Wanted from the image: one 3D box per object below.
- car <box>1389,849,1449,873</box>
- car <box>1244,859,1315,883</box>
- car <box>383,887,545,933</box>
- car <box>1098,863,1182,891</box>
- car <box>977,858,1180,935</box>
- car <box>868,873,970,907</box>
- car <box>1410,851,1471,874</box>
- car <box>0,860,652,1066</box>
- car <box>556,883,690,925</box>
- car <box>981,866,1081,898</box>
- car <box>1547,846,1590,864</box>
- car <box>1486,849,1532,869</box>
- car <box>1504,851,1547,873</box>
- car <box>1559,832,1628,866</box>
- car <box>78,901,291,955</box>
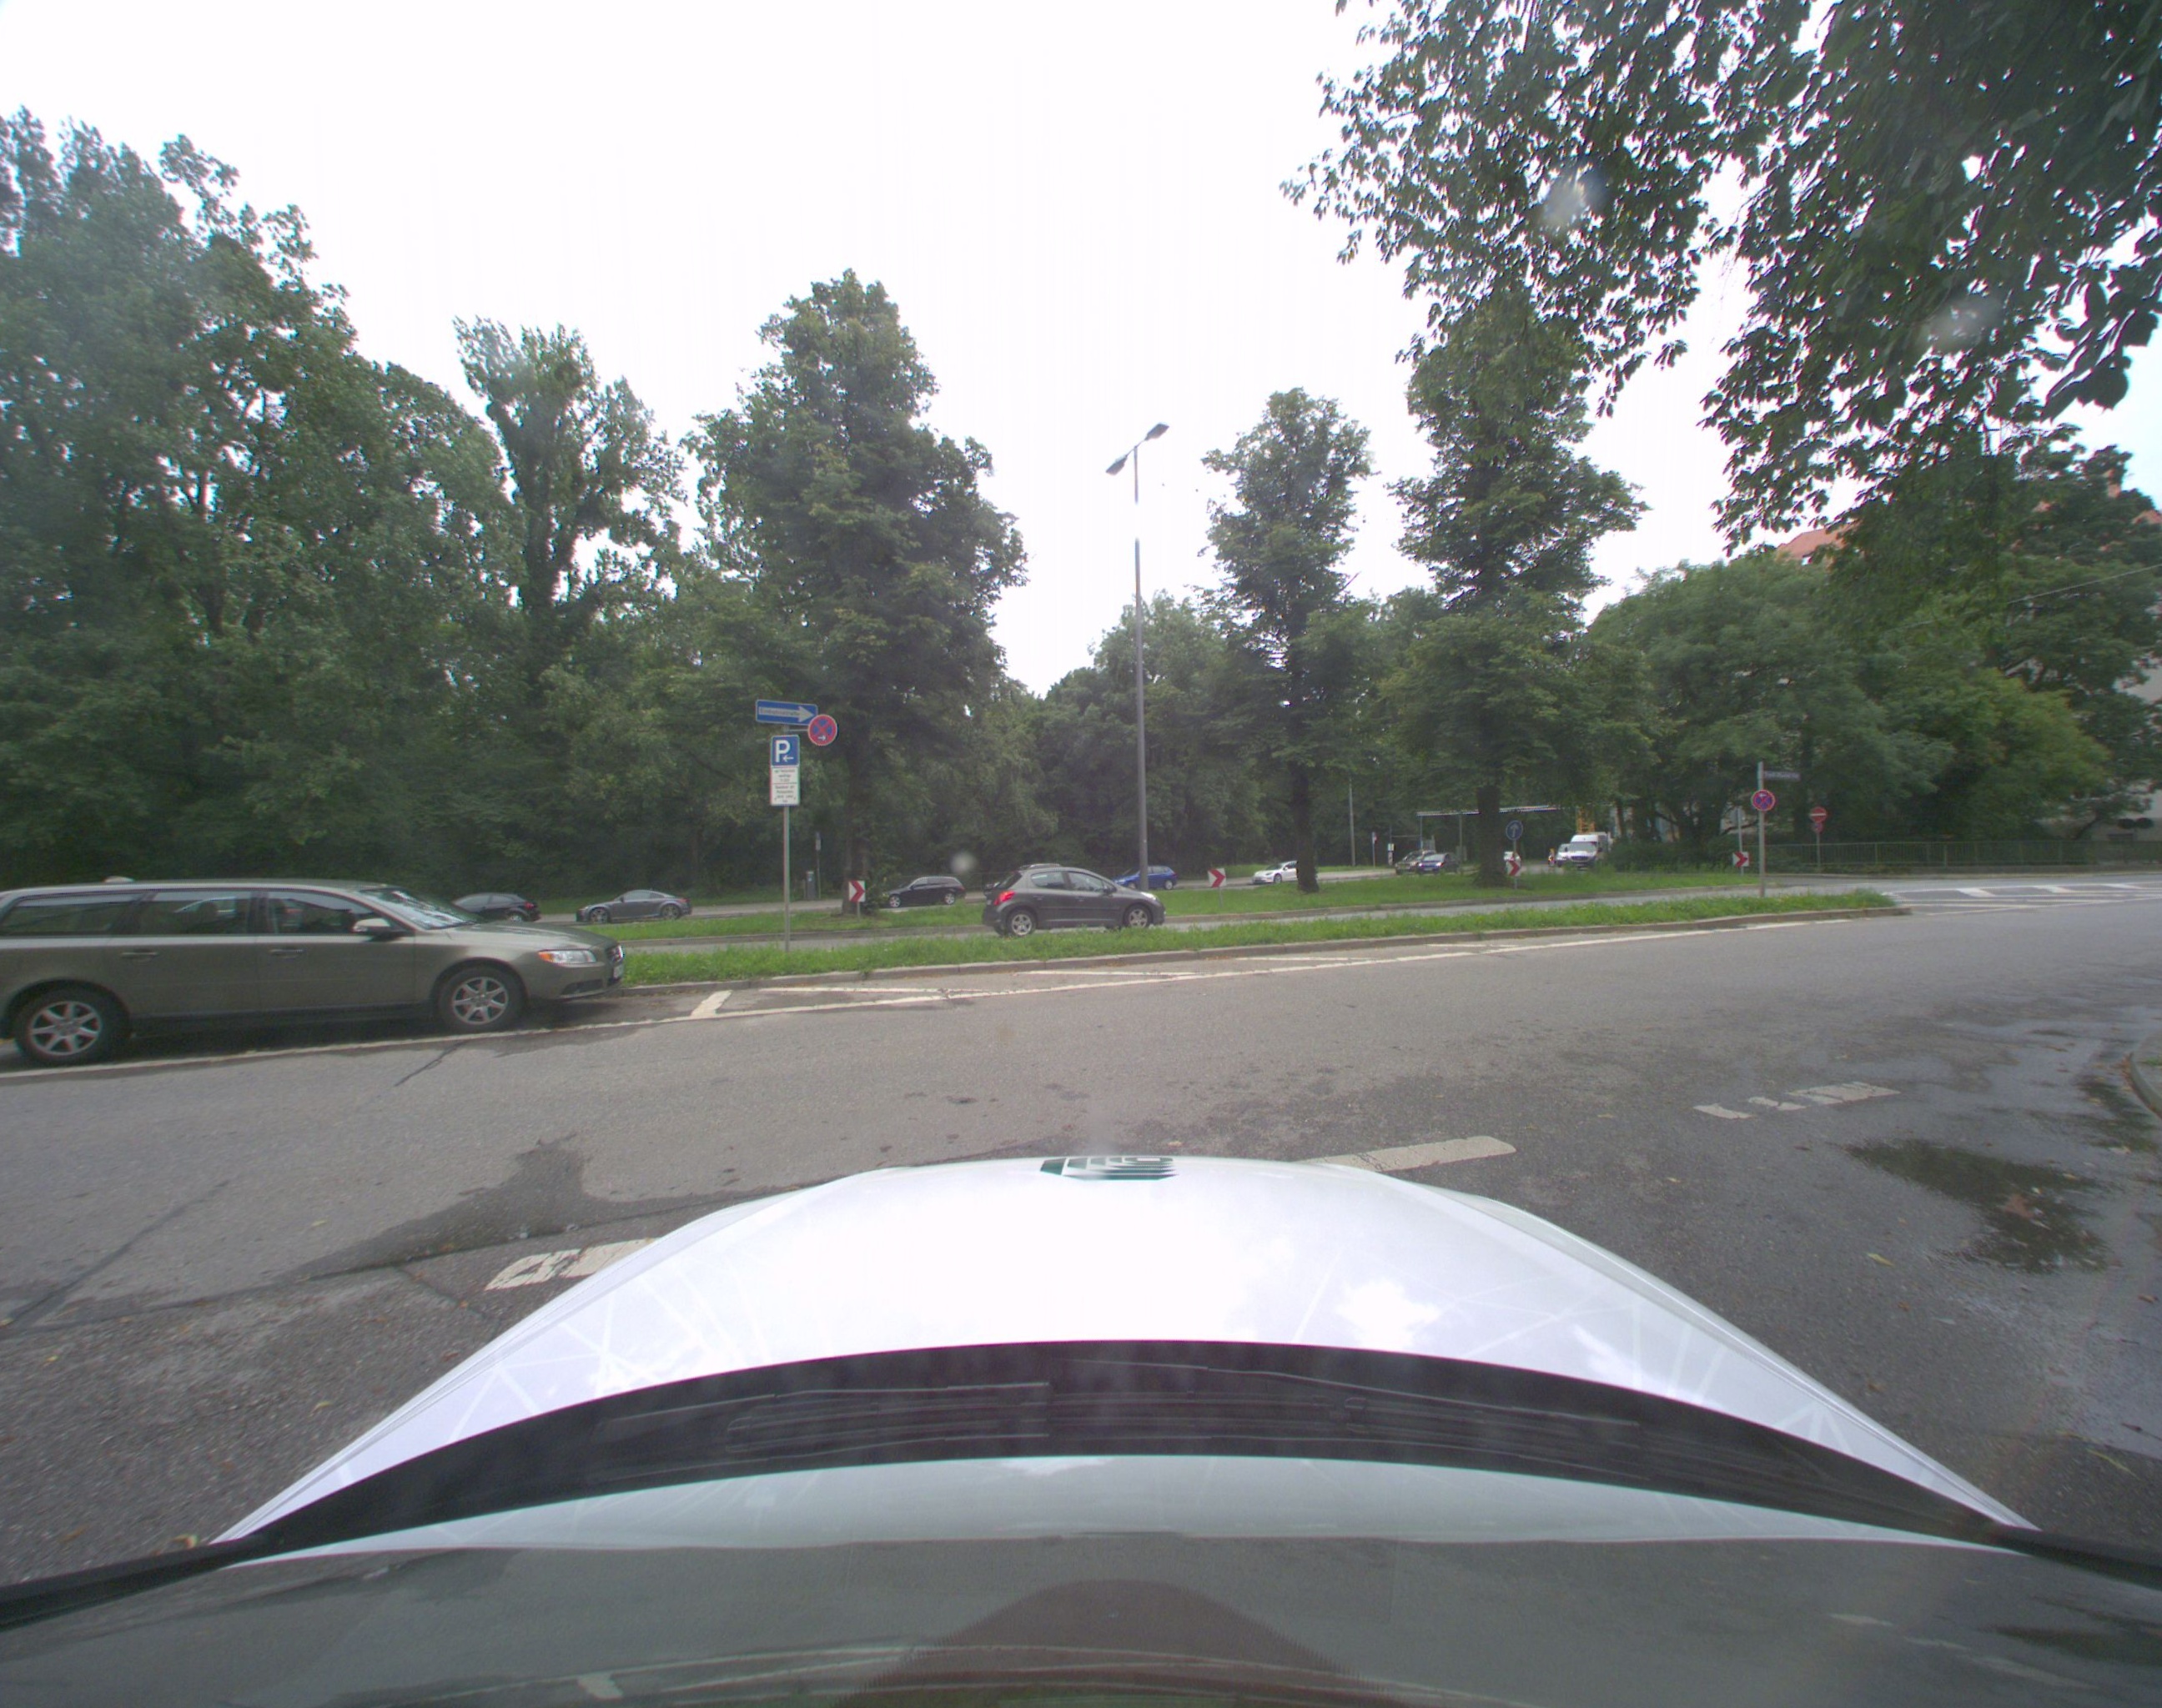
[{"bbox_3d":[25.894,0.511,62.407,4.667,1.718,1.978,-1,-2,-35],"label":"car"},{"bbox_3d":[12.849,1.090,52.574,4.442,1.446,1.978,-1,-2,-35],"label":"car"},{"bbox_3d":[-22.950,2.067,30.558,4.536,1.446,1.982,-1,-2,-27],"label":"car"},{"bbox_3d":[3.387,1.296,46.331,4.442,1.446,1.978,-1,-2,-35],"label":"car"},{"bbox_3d":[-0.087,0.873,17.764,4.072,1.461,1.753,-1,-1,-18],"label":"car"},{"bbox_3d":[-7.770,1.721,39.145,4.335,1.446,1.979,-1,-2,-34],"label":"car"},{"bbox_3d":[24.177,0.557,54.707,4.050,1.446,1.877,-1,-1,-35],"label":"car"},{"bbox_3d":[-7.132,0.904,8.102,4.768,1.565,1.893,-1,-1,-18],"label":"car"},{"bbox_3d":[-18.301,1.981,32.784,4.536,1.446,1.982,-1,-2,-27],"label":"car"},{"bbox_3d":[-2.550,1.448,42.188,4.787,1.446,1.979,-1,-2,-34],"label":"car"},{"bbox_3d":[41.198,0.061,68.772,4.323,1.446,1.874,-1,-1,-42],"label":"car"},{"bbox_3d":[34.445,0.399,65.457,4.259,1.446,1.811,-1,-2,-42],"label":"car"},{"bbox_3d":[39.642,0.678,72.610,4.018,1.874,1.732,-1,-1,-37],"label":"car"},{"bbox_3d":[36.611,-0.367,58.167,5.149,2.270,2.283,-1,-1,-35],"label":"car"},{"bbox_3d":[-29.537,2.397,27.059,4.328,1.446,1.982,-1,-2,-28],"label":"car"}]
